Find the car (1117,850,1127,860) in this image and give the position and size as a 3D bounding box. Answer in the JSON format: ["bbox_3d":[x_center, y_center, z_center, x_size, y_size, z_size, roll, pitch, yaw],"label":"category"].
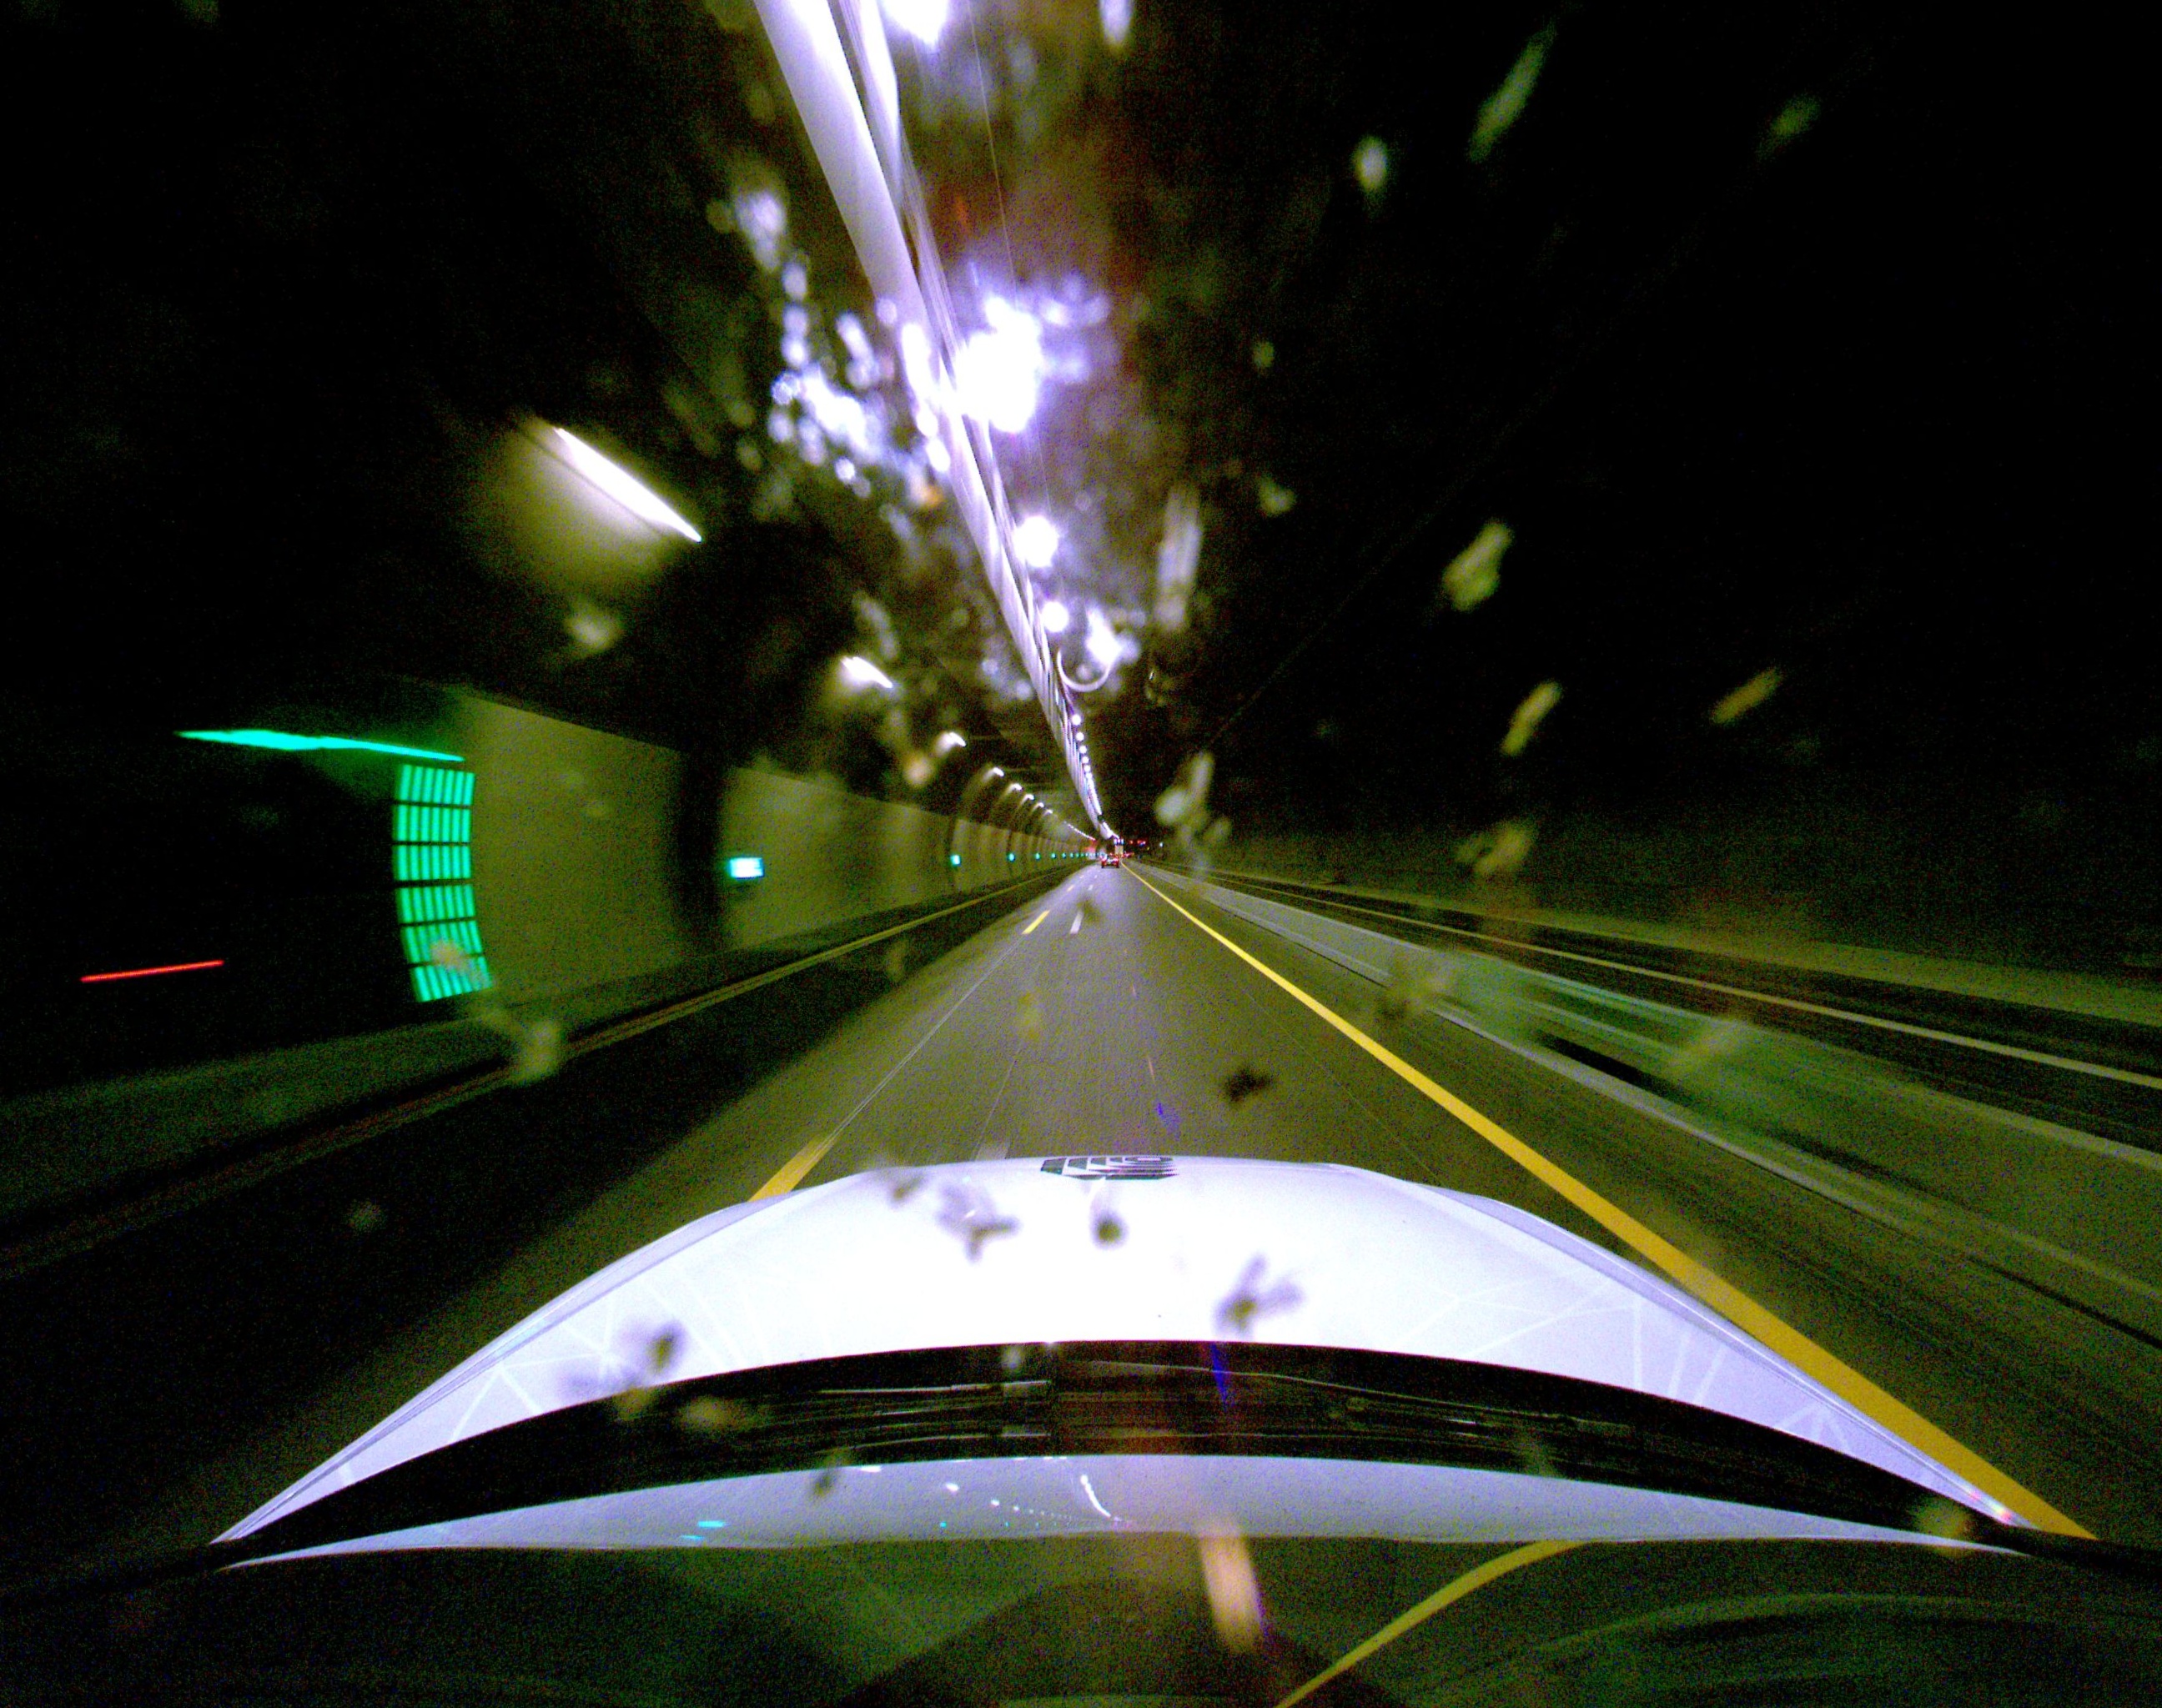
[{"bbox_3d":[8.053,0.157,159.849,1.986,2.013,4.002,-1,0,2],"label":"car"}]

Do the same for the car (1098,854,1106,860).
[{"bbox_3d":[5.287,0.719,204.642,1.820,1.607,4.001,0,0,1],"label":"car"}]

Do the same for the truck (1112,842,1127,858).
[{"bbox_3d":[12.492,-1.328,262.161,4.526,4.987,9.608,0,0,4],"label":"truck"}]

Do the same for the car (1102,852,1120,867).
[{"bbox_3d":[3.153,0.610,87.063,1.881,1.607,4.001,0,0,1],"label":"car"}]
